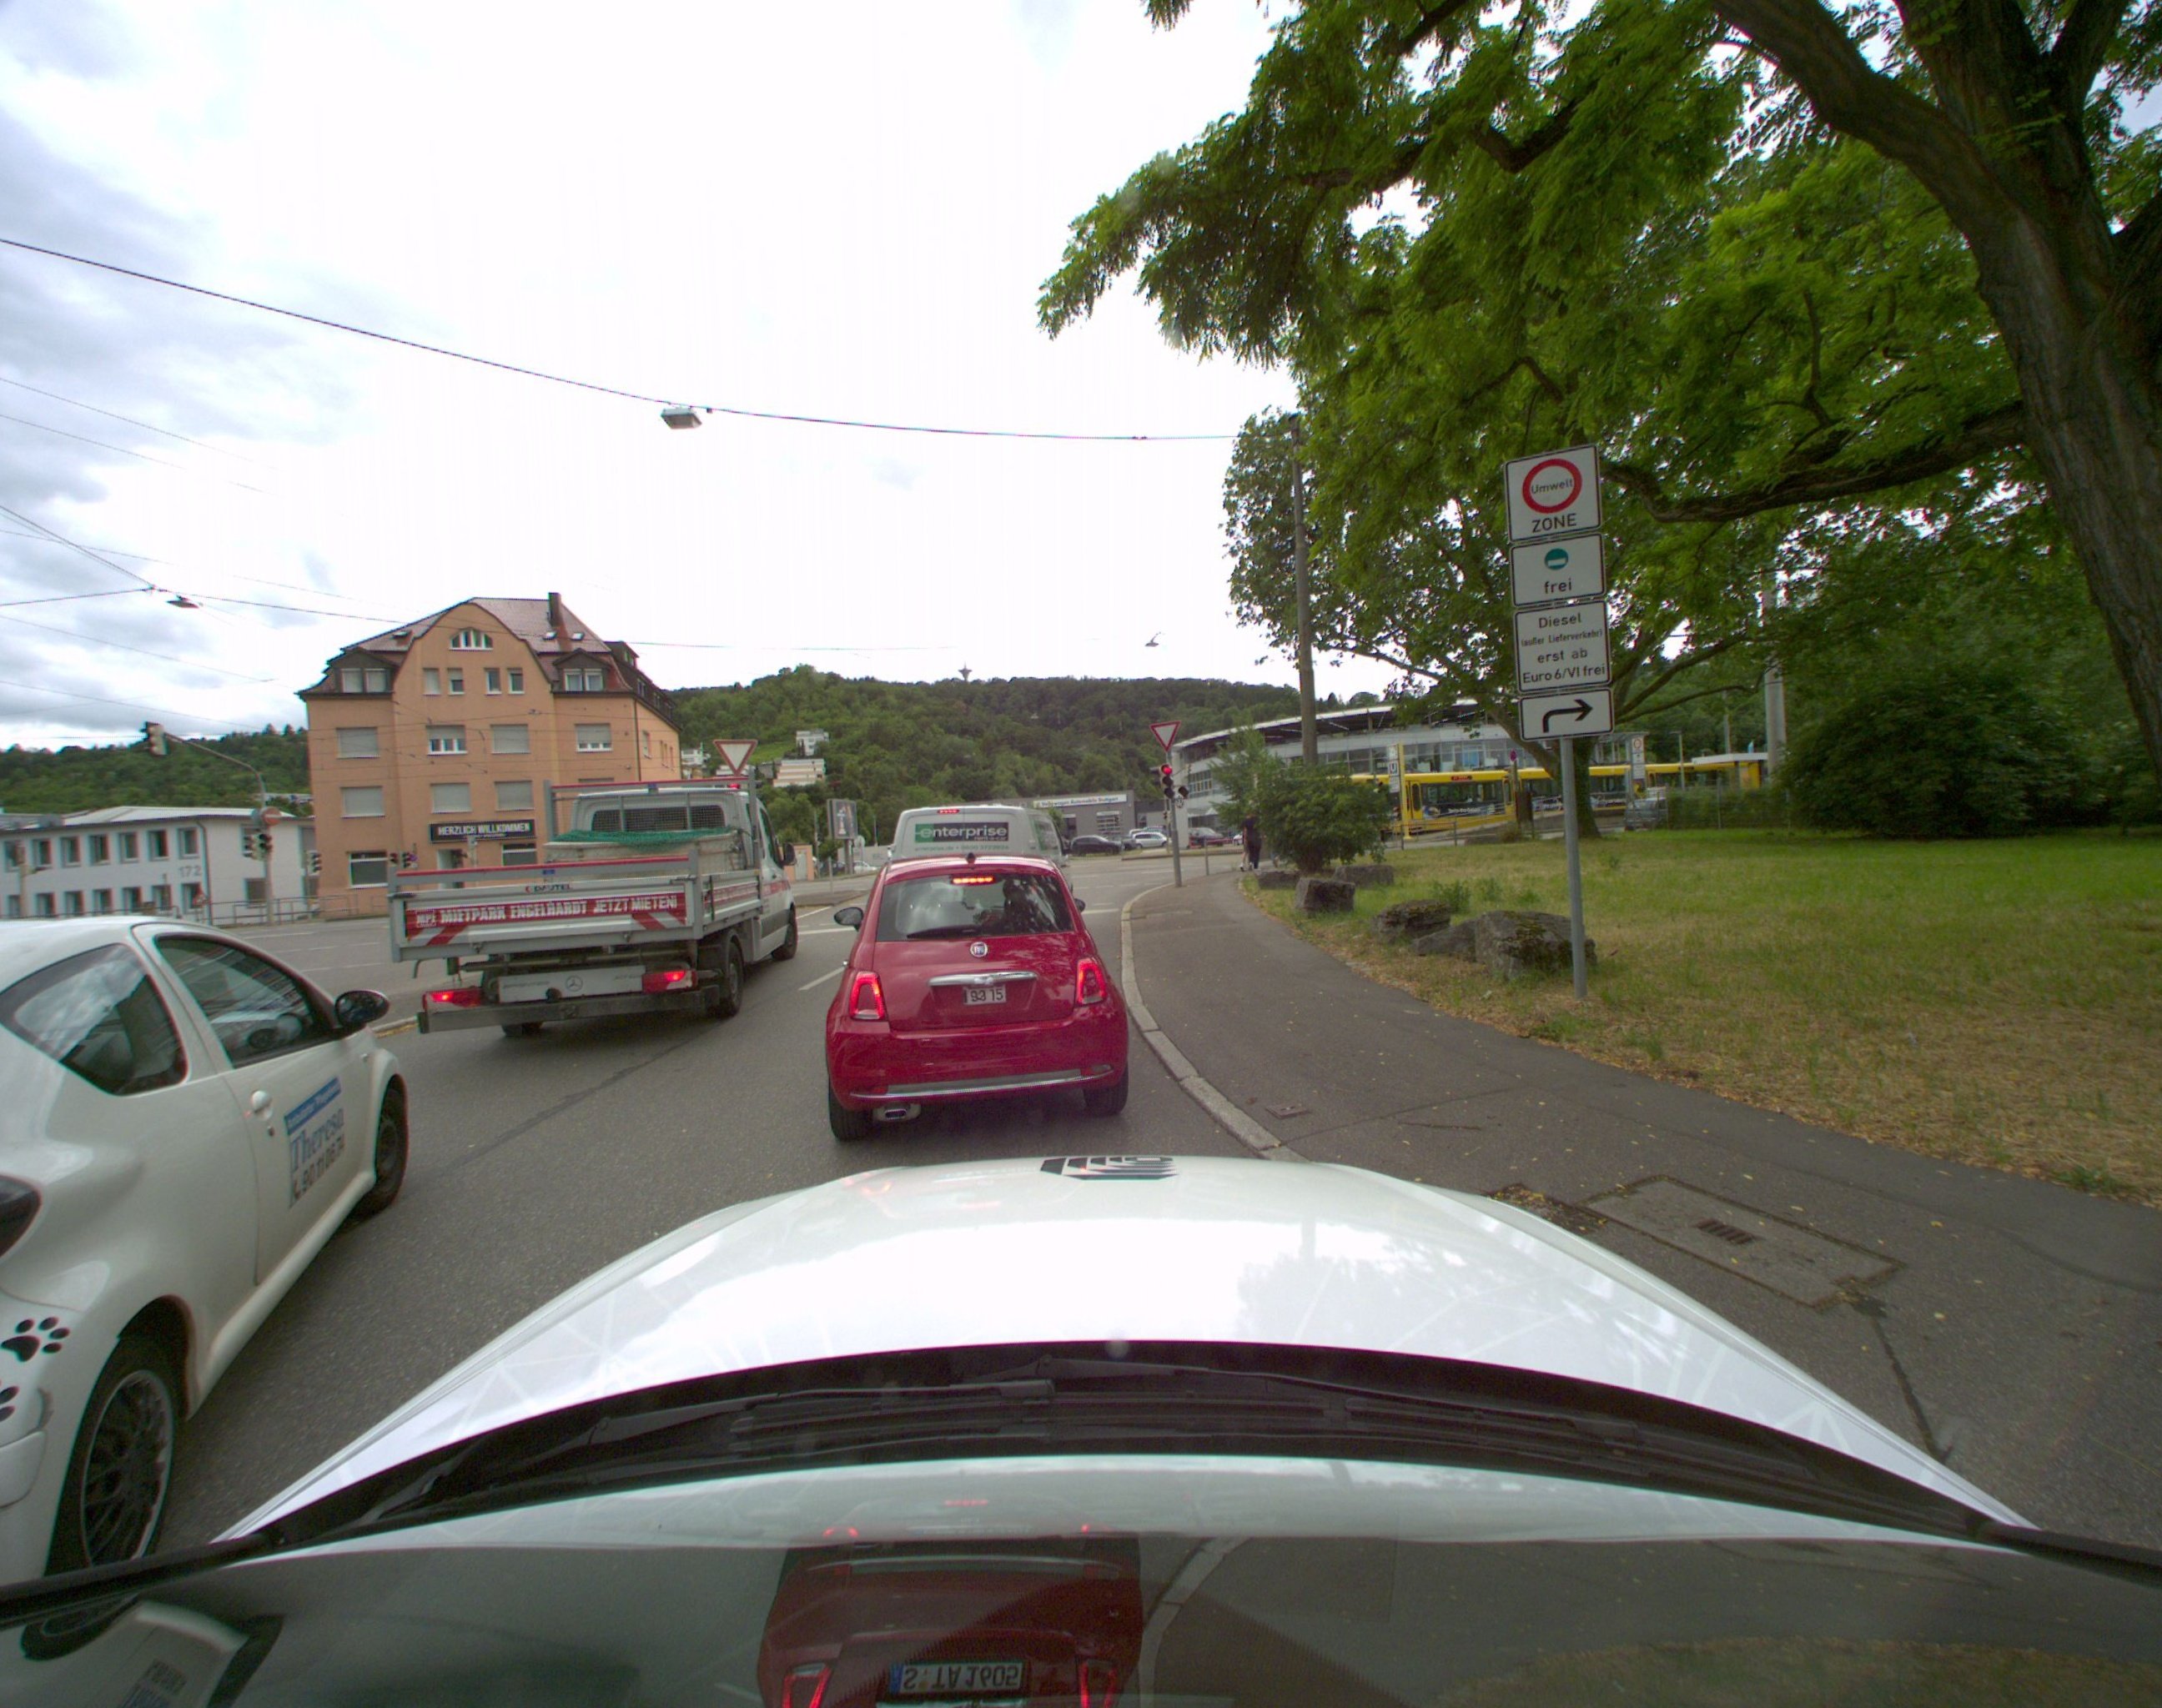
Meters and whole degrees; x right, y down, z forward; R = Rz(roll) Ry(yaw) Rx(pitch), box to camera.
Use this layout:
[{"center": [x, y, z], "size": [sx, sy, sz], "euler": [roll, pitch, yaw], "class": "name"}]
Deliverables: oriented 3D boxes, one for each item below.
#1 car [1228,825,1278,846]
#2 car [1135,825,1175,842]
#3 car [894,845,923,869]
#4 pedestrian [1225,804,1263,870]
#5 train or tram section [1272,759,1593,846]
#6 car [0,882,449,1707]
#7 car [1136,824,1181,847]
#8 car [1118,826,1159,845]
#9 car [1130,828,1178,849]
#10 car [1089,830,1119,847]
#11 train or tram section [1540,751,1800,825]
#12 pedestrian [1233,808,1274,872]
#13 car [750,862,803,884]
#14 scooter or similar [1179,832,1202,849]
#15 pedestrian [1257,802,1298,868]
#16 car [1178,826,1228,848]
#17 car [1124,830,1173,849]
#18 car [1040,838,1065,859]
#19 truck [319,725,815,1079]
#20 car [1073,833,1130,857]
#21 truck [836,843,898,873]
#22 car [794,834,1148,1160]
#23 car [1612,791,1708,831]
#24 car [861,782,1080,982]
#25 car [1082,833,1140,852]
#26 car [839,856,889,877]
[{"center": [14.066, -1.517, 66.709], "size": [1.781, 1.500, 3.984], "euler": [-4, 1, -29], "class": "car"}, {"center": [9.176, -2.521, 101.117], "size": [4.774, 1.802, 1.778], "euler": [-4, 1, 4], "class": "car"}, {"center": [-14.544, 0.253, 68.930], "size": [1.858, 1.817, 4.392], "euler": [-4, 1, -7], "class": "car"}, {"center": [4.719, -0.495, 23.562], "size": [0.686, 1.857, 0.793], "euler": [-4, 1, 39], "class": "pedestrian"}, {"center": [19.605, -2.920, 44.526], "size": [19.184, 3.665, 3.255], "euler": [-4, 1, -21], "class": "train or tram section"}, {"center": [-3.312, 0.890, 2.456], "size": [1.649, 1.432, 3.398], "euler": [-5, 1, -30], "class": "car"}, {"center": [8.480, -2.047, 89.545], "size": [4.774, 2.156, 2.237], "euler": [-4, 1, 4], "class": "car"}, {"center": [6.810, -2.184, 96.277], "size": [4.774, 1.802, 1.778], "euler": [-4, 1, 4], "class": "car"}, {"center": [7.584, -1.618, 84.645], "size": [4.774, 1.802, 1.778], "euler": [-4, 1, 4], "class": "car"}, {"center": [2.854, -1.888, 99.724], "size": [1.974, 1.815, 4.026], "euler": [-3, 1, 29], "class": "car"}, {"center": [37.459, -4.268, 51.383], "size": [19.184, 3.665, 3.255], "euler": [-4, 1, -21], "class": "train or tram section"}, {"center": [4.840, -0.401, 22.864], "size": [0.686, 1.714, 0.793], "euler": [-3, 1, 43], "class": "pedestrian"}, {"center": [-26.741, 1.668, 71.558], "size": [4.218, 1.533, 1.763], "euler": [-4, 1, -20], "class": "car"}, {"center": [8.401, -1.052, 62.281], "size": [1.658, 1.177, 0.469], "euler": [-4, 1, 9], "class": "scooter or similar"}, {"center": [5.426, -0.525, 22.480], "size": [0.686, 1.739, 0.793], "euler": [-3, 1, 42], "class": "pedestrian"}, {"center": [9.709, -1.368, 65.043], "size": [1.782, 1.500, 3.843], "euler": [-4, 1, -31], "class": "car"}, {"center": [6.709, -1.461, 81.118], "size": [4.774, 1.533, 1.778], "euler": [-4, 1, 4], "class": "car"}, {"center": [-2.721, -0.588, 79.096], "size": [1.985, 1.815, 4.004], "euler": [-4, 1, 3], "class": "car"}, {"center": [-4.663, 0.289, 8.941], "size": [2.423, 2.397, 6.006], "euler": [-4, 1, -11], "class": "truck"}, {"center": [1.531, -0.690, 61.528], "size": [3.837, 1.500, 1.784], "euler": [-3, 1, 18], "class": "car"}, {"center": [-20.128, 0.362, 76.751], "size": [5.211, 2.393, 1.983], "euler": [-4, 1, -26], "class": "truck"}, {"center": [-0.768, 0.662, 5.664], "size": [1.638, 1.456, 3.420], "euler": [-3, 1, -9], "class": "car"}, {"center": [27.361, -2.018, 38.487], "size": [3.890, 1.584, 1.791], "euler": [-4, 1, -20], "class": "car"}, {"center": [-1.236, 0.264, 11.474], "size": [1.981, 2.106, 4.767], "euler": [-4, 1, 4], "class": "car"}, {"center": [2.617, -0.977, 70.617], "size": [4.636, 1.327, 1.783], "euler": [-4, 1, 15], "class": "car"}, {"center": [-19.588, 1.128, 73.624], "size": [4.209, 1.533, 1.767], "euler": [-4, 1, -14], "class": "car"}]
